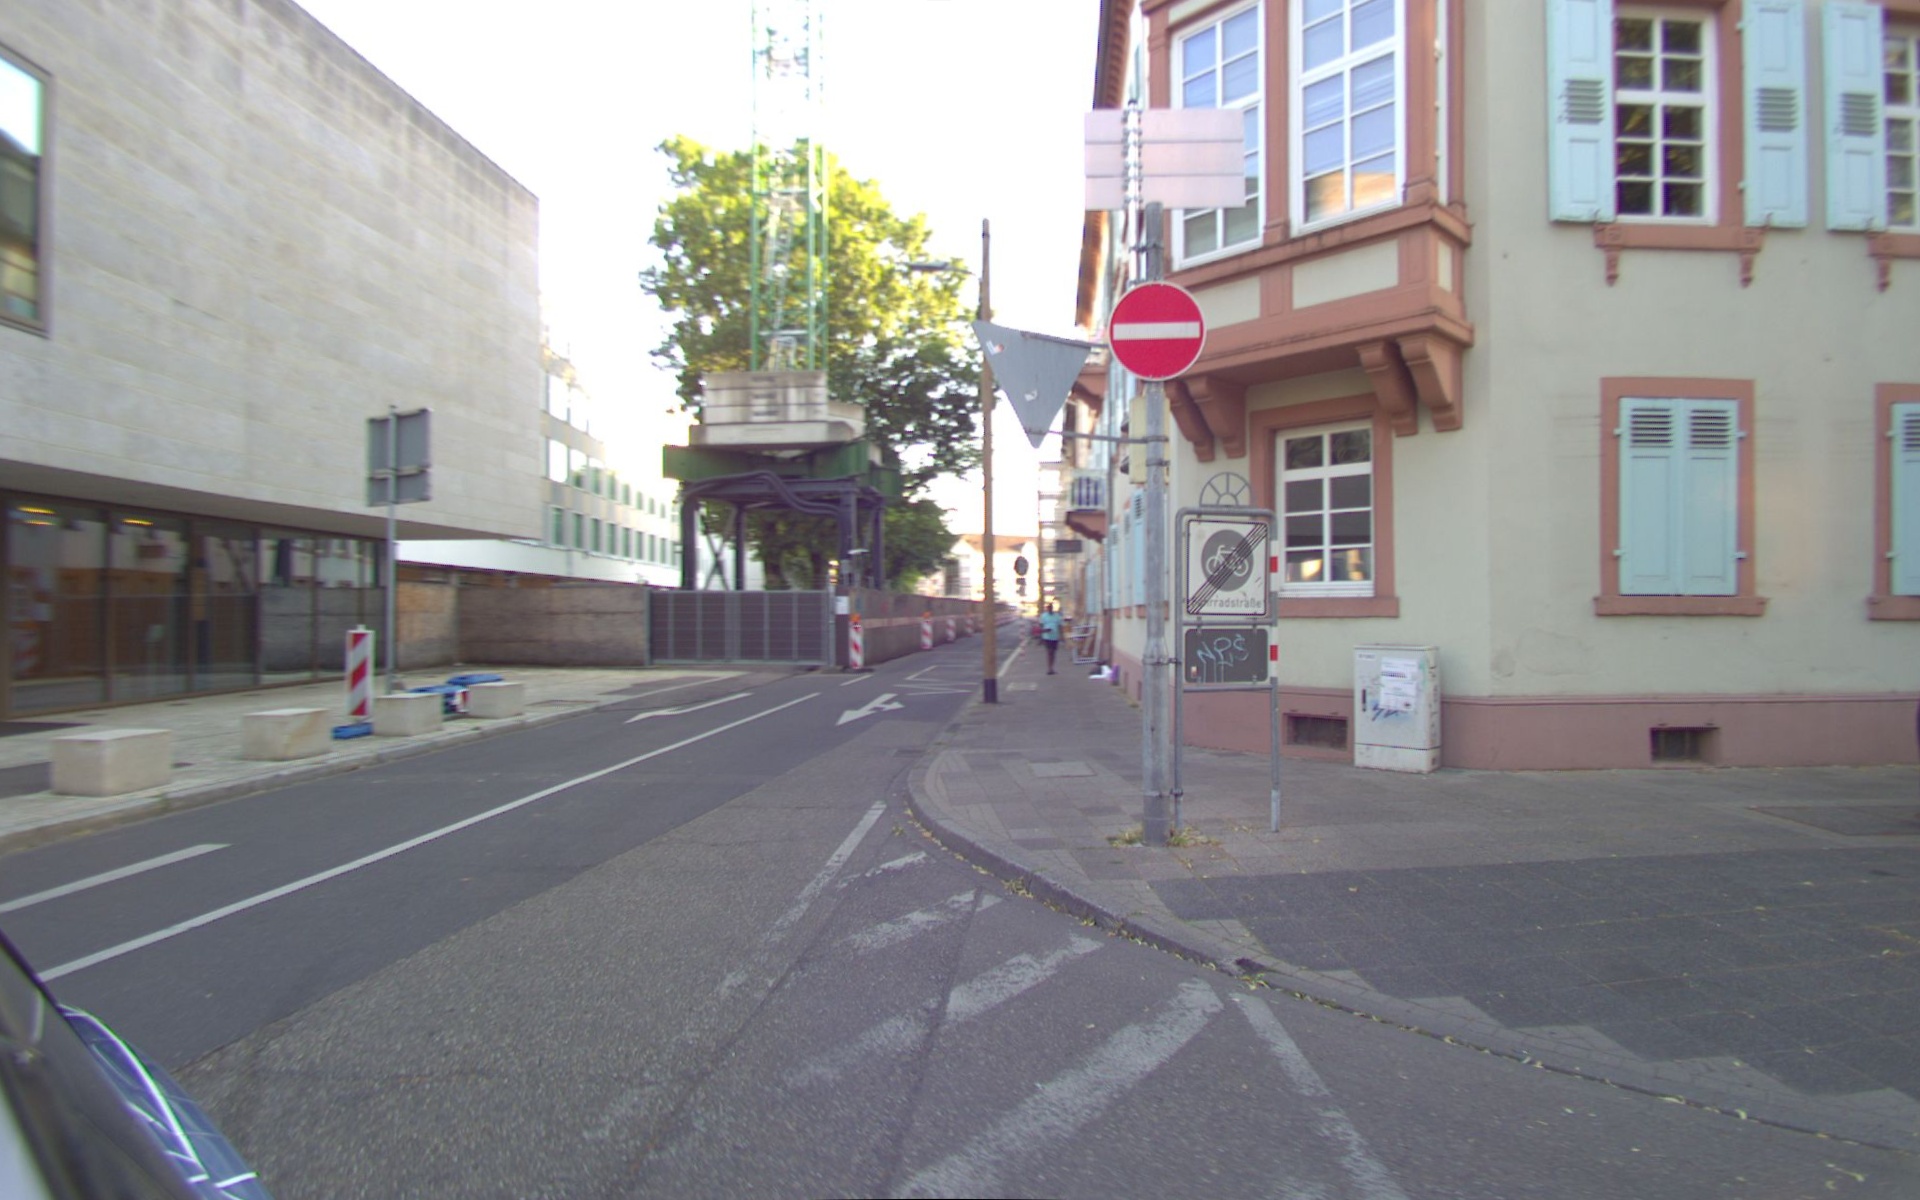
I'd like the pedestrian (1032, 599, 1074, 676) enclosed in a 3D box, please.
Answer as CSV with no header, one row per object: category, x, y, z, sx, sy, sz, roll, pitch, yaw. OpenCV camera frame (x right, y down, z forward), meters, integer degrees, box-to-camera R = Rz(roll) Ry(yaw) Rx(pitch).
pedestrian,2.140,0.852,23.342,0.816,1.709,0.648,-4,-1,4

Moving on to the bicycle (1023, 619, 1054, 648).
bicycle,3.249,1.381,41.883,0.658,1.179,1.592,-2,-1,30

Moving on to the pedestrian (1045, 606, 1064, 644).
pedestrian,4.360,1.152,46.749,0.816,1.709,0.648,-1,-1,4

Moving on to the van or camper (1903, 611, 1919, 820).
van or camper,6.747,0.705,5.779,1.819,1.269,0.944,0,0,0
